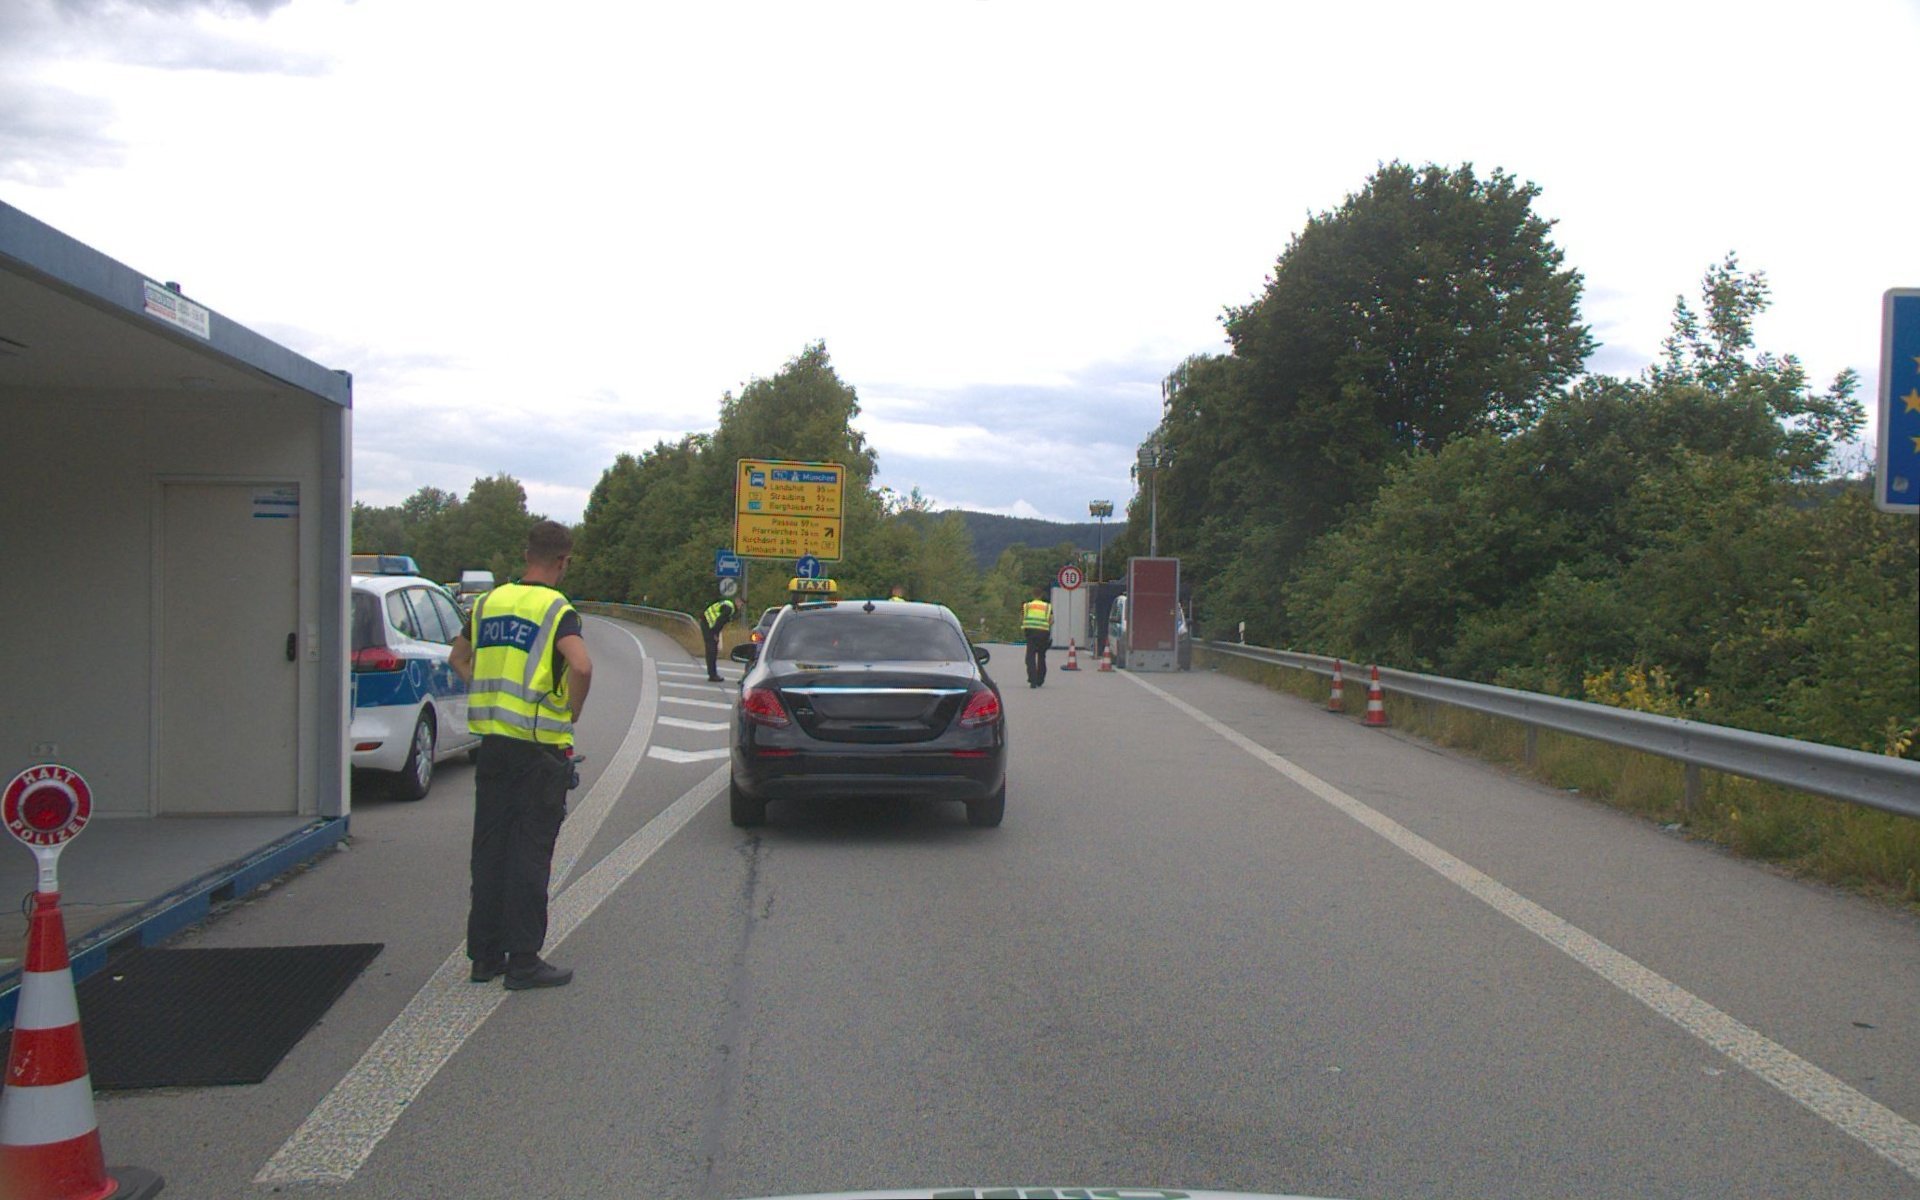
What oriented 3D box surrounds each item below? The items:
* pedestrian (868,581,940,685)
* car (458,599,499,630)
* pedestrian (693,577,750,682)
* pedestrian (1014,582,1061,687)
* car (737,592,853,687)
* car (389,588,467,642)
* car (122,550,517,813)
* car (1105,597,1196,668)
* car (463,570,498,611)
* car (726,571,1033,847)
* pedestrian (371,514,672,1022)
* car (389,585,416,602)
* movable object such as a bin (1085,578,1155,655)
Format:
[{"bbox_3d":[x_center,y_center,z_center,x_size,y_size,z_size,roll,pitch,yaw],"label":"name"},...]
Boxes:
[{"bbox_3d":[-0.959,0.554,28.145,0.900,1.727,0.904,1,0,-32],"label":"pedestrian"},{"bbox_3d":[-23.724,0.695,81.564,1.821,1.488,3.983,1,0,-15],"label":"car"},{"bbox_3d":[-4.176,0.505,29.049,0.892,1.800,0.911,1,0,-3],"label":"pedestrian"},{"bbox_3d":[1.402,0.619,30.013,0.796,1.862,0.809,0,0,-1],"label":"pedestrian"},{"bbox_3d":[-2.818,0.632,28.940,1.818,1.524,4.254,0,0,-3],"label":"car"},{"bbox_3d":[-15.779,0.430,49.201,1.823,1.524,4.243,0,0,-13],"label":"car"},{"bbox_3d":[-4.876,0.553,13.233,1.832,1.774,4.004,0,0,-4],"label":"car"},{"bbox_3d":[4.994,0.816,44.021,1.877,1.707,5.084,2,0,1],"label":"car"},{"bbox_3d":[-27.068,-0.524,93.413,1.825,2.261,4.238,1,0,-16],"label":"car"},{"bbox_3d":[-0.698,0.643,12.019,1.820,1.623,4.369,0,0,-6],"label":"car"},{"bbox_3d":[-1.646,0.577,6.249,0.747,1.748,0.815,0,0,37],"label":"pedestrian"},{"bbox_3d":[-51.123,-0.604,151.700,1.829,1.488,3.967,1,0,-26],"label":"car"},{"bbox_3d":[5.077,0.506,52.865,1.952,2.320,4.169,1,0,2],"label":"movable object such as a bin"}]
